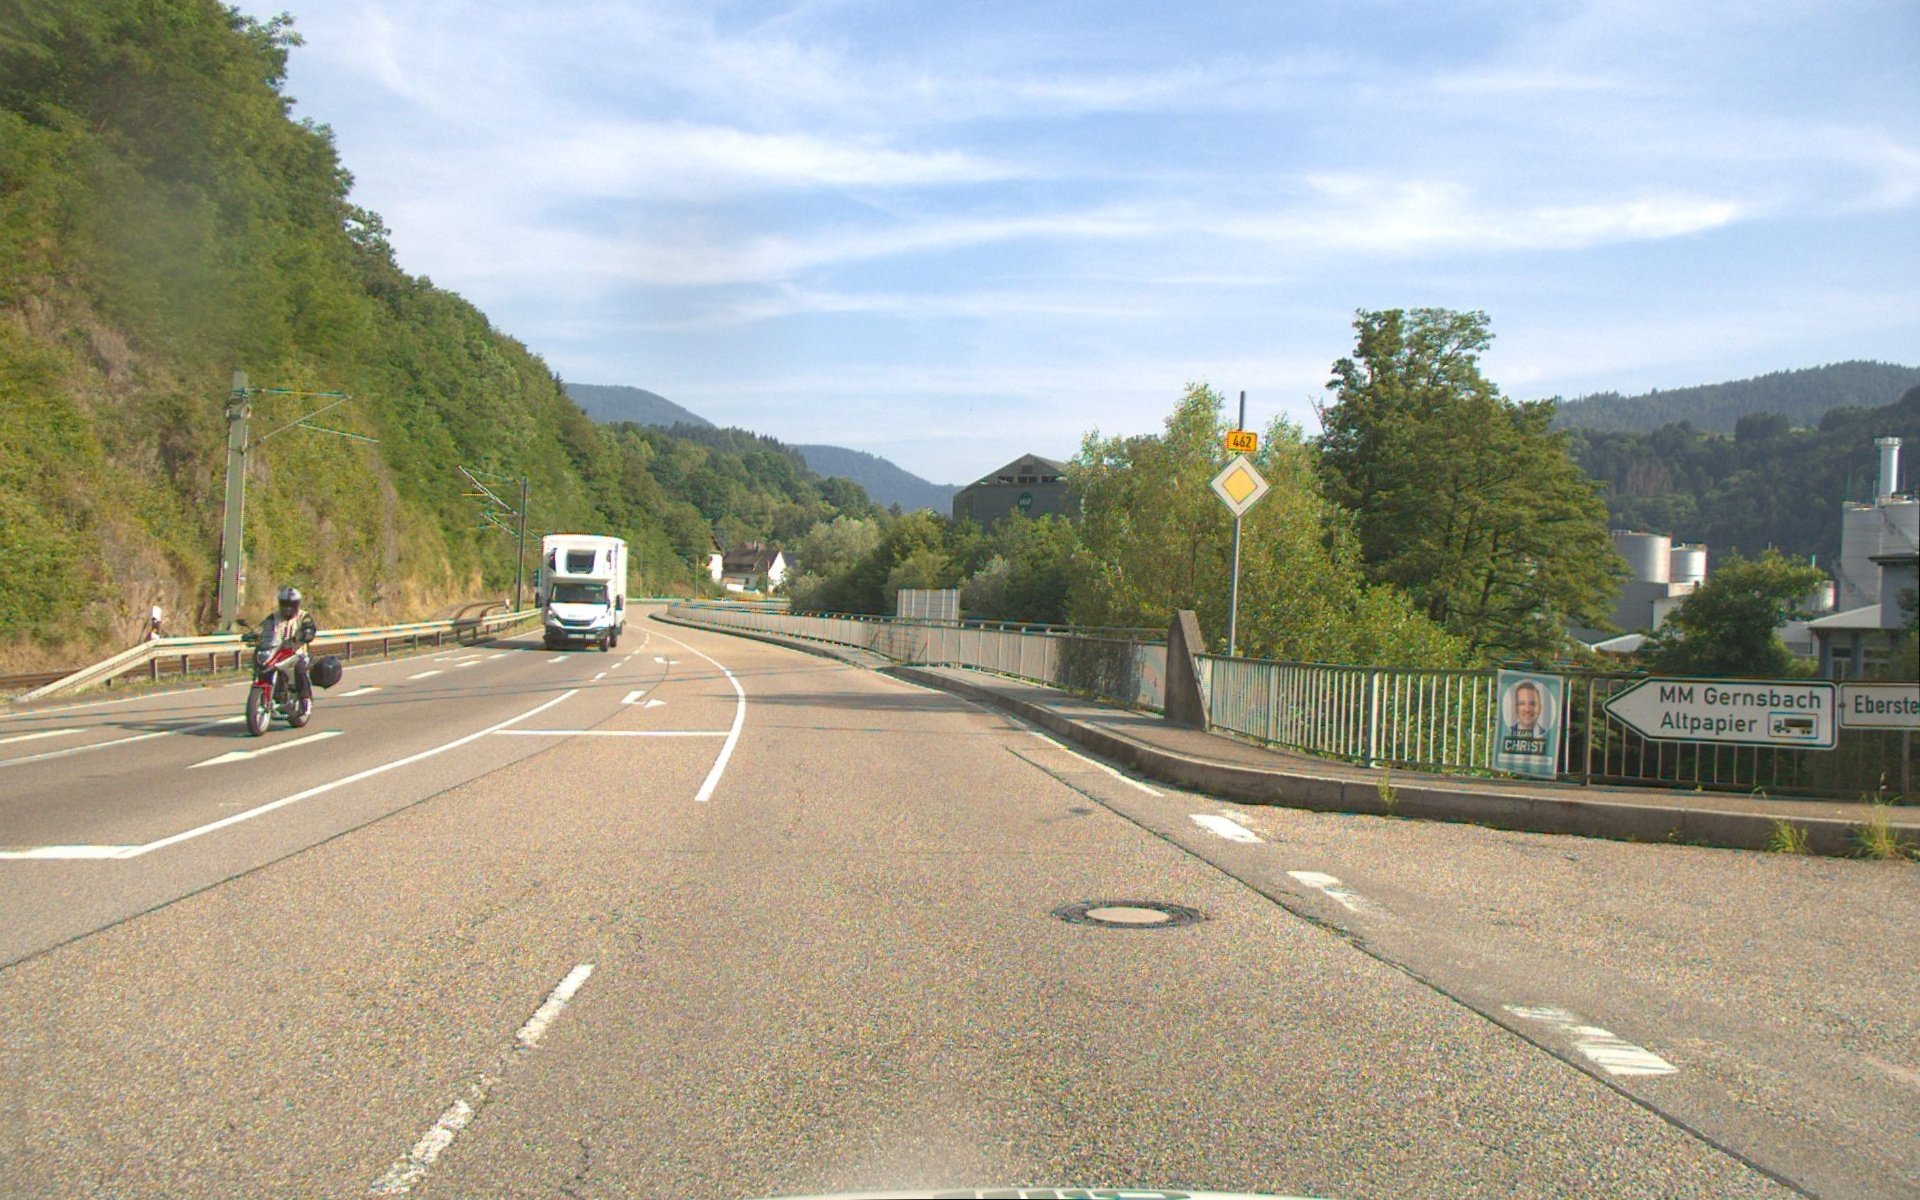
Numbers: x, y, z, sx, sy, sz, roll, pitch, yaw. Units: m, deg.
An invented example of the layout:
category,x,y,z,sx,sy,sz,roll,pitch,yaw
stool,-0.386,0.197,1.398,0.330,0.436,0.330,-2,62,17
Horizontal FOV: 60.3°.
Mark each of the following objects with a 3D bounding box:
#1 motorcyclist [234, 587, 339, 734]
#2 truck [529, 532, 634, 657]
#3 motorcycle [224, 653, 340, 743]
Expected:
category,x,y,z,sx,sy,sz,roll,pitch,yaw
motorcyclist,-8.202,0.730,20.193,0.988,1.745,0.863,1,-1,-11
truck,-12.714,-0.140,56.192,2.844,3.865,8.874,1,-1,-9
motorcycle,-8.232,1.167,20.170,0.809,0.971,2.213,1,-1,-10
